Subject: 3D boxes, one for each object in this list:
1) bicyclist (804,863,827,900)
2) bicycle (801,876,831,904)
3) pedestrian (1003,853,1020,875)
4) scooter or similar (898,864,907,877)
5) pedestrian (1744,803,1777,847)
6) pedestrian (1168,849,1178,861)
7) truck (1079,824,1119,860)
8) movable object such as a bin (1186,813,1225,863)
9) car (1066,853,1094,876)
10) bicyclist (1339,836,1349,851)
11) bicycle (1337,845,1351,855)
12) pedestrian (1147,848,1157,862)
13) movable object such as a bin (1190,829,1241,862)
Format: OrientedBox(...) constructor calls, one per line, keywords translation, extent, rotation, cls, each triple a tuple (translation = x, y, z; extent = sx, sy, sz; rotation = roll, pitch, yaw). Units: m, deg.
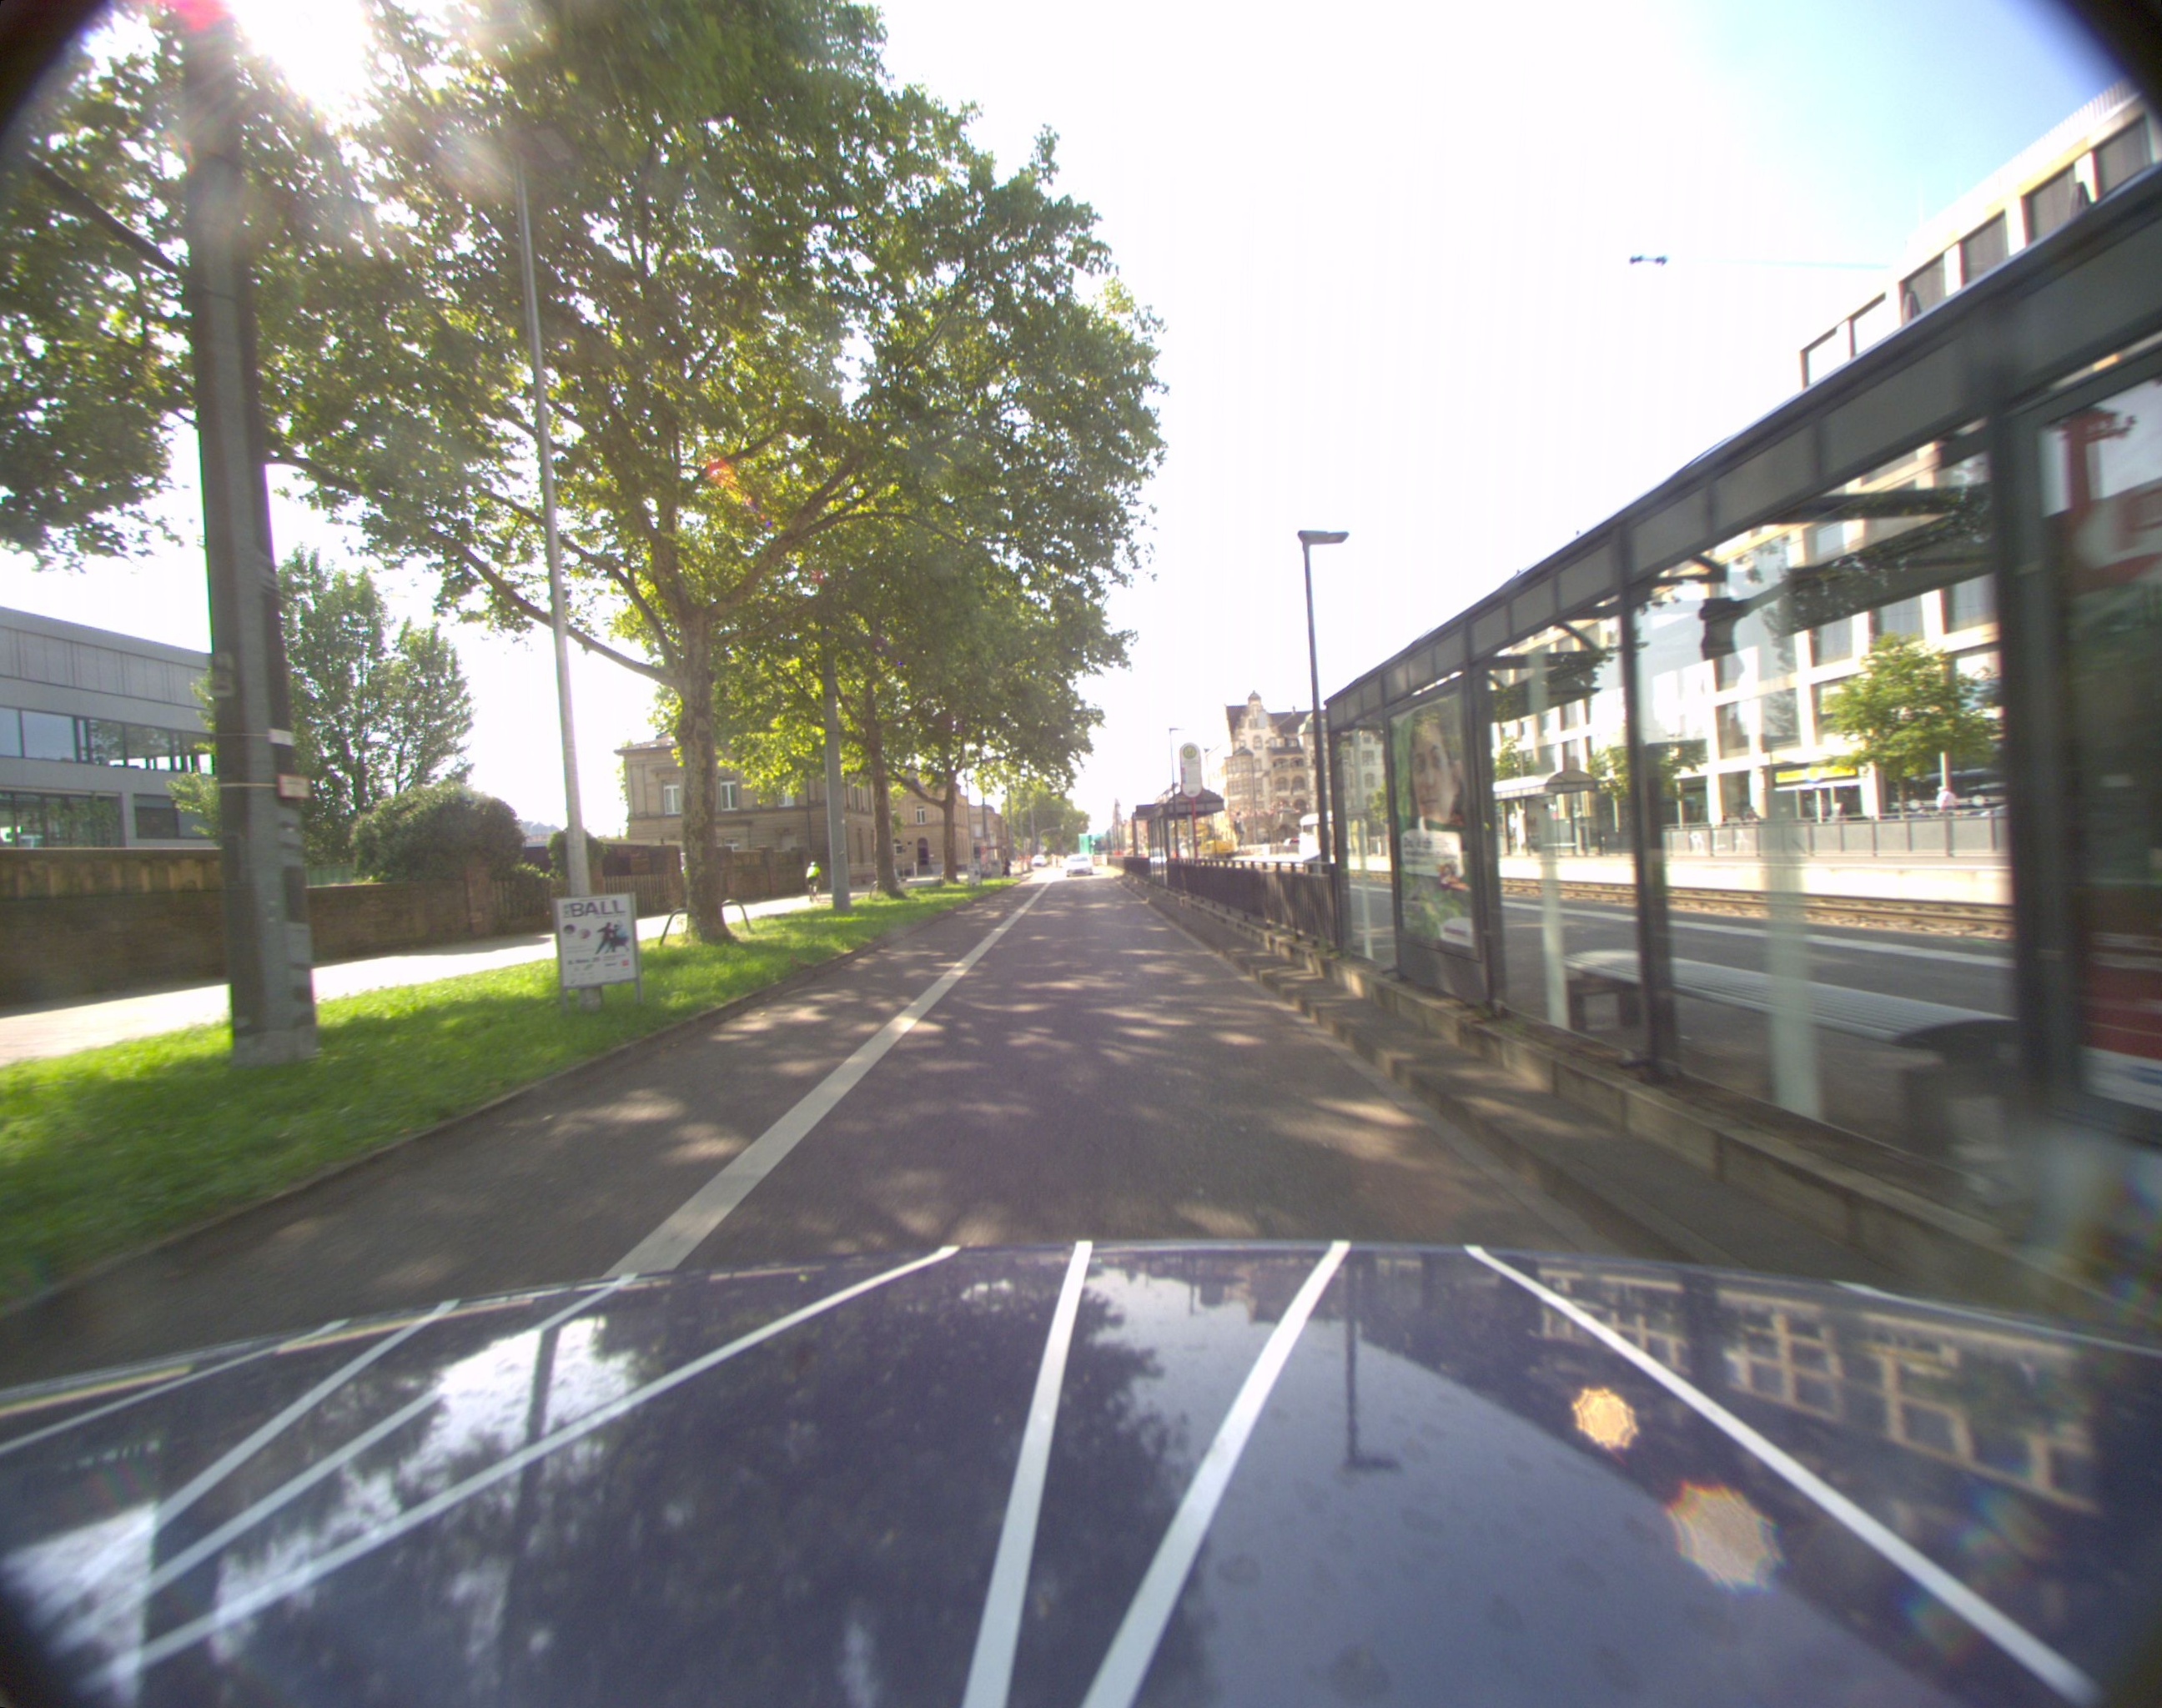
OrientedBox(translation=(-10.807, 1.098, 30.994), extent=(0.549, 1.445, 0.842), rotation=(-3, 1, 0), cls="bicyclist")
OrientedBox(translation=(-10.785, 1.463, 31.016), extent=(0.549, 1.001, 1.713), rotation=(-3, 0, 1), cls="bicycle")
OrientedBox(translation=(-5.239, 0.755, 57.042), extent=(0.885, 1.616, 0.821), rotation=(-4, 1, -35), cls="pedestrian")
OrientedBox(translation=(-16.262, 1.507, 69.293), extent=(0.409, 1.159, 1.226), rotation=(-3, 0, 5), cls="scooter or similar")
OrientedBox(translation=(32.102, -1.352, 35.926), extent=(0.769, 2.002, 0.822), rotation=(-3, 1, 4), cls="pedestrian")
OrientedBox(translation=(9.026, 0.089, 74.392), extent=(0.701, 1.148, 0.589), rotation=(-3, 1, 40), cls="pedestrian")
OrientedBox(translation=(1.957, -1.299, 88.637), extent=(2.817, 3.766, 9.008), rotation=(-3, 0, -10), cls="truck")
OrientedBox(translation=(12.047, -1.483, 73.630), extent=(2.994, 4.527, 4.212), rotation=(-3, 0, 2), cls="movable object such as a bin")
OrientedBox(translation=(-0.026, 0.703, 52.750), extent=(1.844, 1.451, 4.000), rotation=(-1, 0, 1), cls="car")
OrientedBox(translation=(23.938, -0.965, 69.050), extent=(0.631, 1.394, 0.784), rotation=(-1, 2, -1), cls="bicyclist")
OrientedBox(translation=(23.946, -0.388, 69.172), extent=(0.631, 0.817, 1.897), rotation=(-1, 2, 0), cls="bicycle")
OrientedBox(translation=(7.596, 0.104, 81.219), extent=(0.741, 1.470, 0.704), rotation=(-3, 1, 22), cls="pedestrian")
OrientedBox(translation=(14.506, -0.909, 82.006), extent=(4.127, 3.204, 3.564), rotation=(-4, 0, -15), cls="movable object such as a bin")
